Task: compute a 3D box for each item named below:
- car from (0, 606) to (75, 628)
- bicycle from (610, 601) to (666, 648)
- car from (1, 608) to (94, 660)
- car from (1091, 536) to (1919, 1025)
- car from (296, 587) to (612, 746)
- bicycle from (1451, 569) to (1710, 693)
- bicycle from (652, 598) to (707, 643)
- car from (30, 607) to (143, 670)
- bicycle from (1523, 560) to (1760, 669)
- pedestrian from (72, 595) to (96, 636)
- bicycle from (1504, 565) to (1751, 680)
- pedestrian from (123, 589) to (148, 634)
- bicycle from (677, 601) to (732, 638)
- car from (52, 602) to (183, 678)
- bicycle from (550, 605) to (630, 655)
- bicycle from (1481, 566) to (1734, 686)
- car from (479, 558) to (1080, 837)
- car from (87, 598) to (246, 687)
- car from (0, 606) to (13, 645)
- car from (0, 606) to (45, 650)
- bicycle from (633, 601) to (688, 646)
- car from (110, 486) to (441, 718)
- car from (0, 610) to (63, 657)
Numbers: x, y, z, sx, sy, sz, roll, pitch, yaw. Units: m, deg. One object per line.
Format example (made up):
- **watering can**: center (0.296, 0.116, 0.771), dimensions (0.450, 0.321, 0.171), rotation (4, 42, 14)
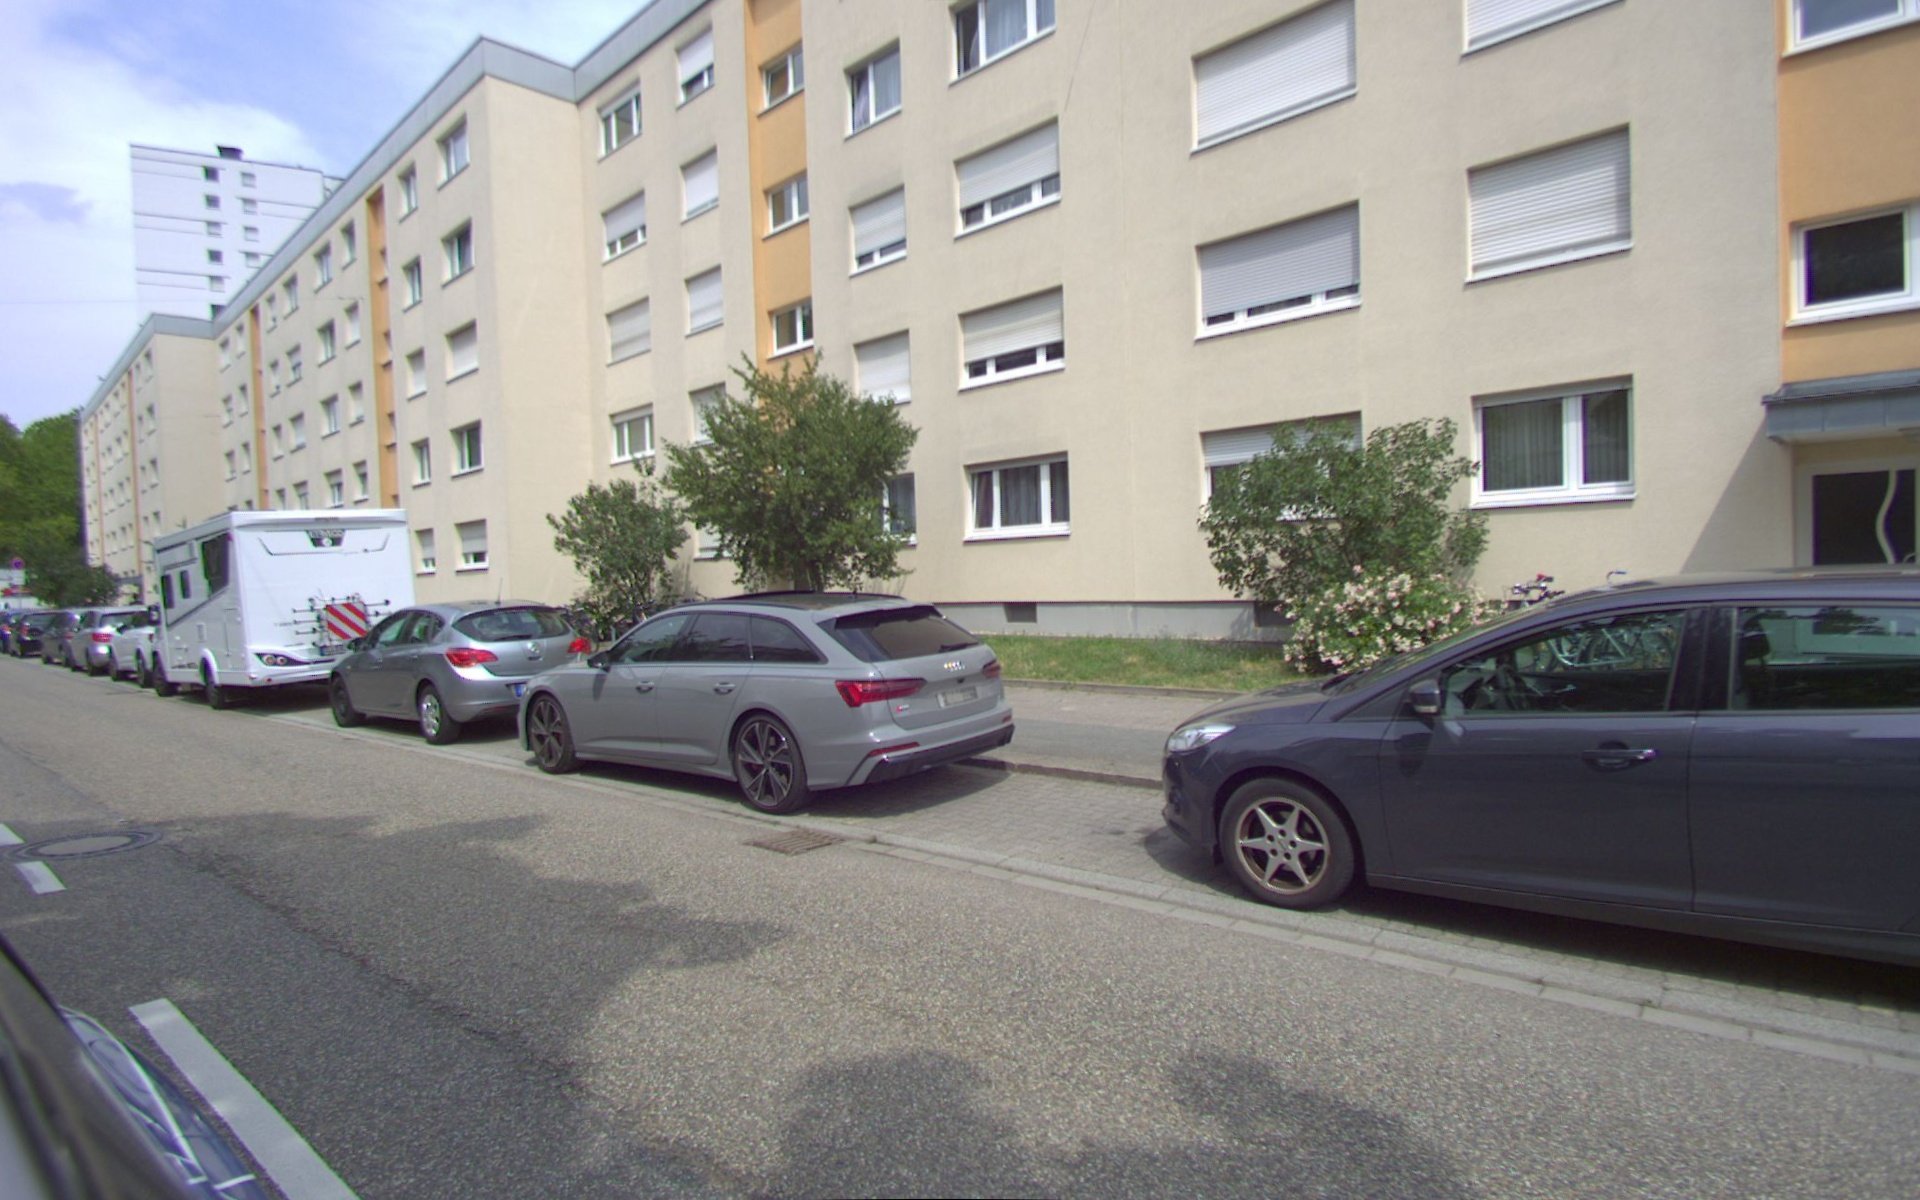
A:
- **car**: center (-73.475, 1.332, 80.518), dimensions (4.576, 1.699, 1.851), rotation (-1, 0, -43)
- **bicycle**: center (-7.141, 0.549, 22.399), dimensions (1.678, 0.986, 0.392), rotation (-2, 0, 44)
- **car**: center (-29.598, 1.062, 32.794), dimensions (4.115, 1.494, 1.799), rotation (-1, 2, 43)
- **car**: center (3.052, 0.532, 4.181), dimensions (4.782, 1.507, 1.724), rotation (-1, 2, 40)
- **car**: center (-6.193, 0.678, 12.134), dimensions (4.590, 1.507, 1.672), rotation (-1, 2, 40)
- **bicycle**: center (5.940, 0.297, 9.800), dimensions (2.061, 1.094, 0.457), rotation (-2, 0, 44)
- **bicycle**: center (-6.426, 0.481, 23.160), dimensions (1.685, 0.986, 0.392), rotation (-2, 0, 44)
- **car**: center (-24.302, 1.056, 28.111), dimensions (4.001, 1.551, 1.706), rotation (-2, 0, 40)
- **bicycle**: center (7.339, 0.167, 10.988), dimensions (2.060, 1.094, 0.457), rotation (-2, 0, 43)
- **pedestrian**: center (-39.749, 0.687, 45.933), dimensions (0.898, 1.826, 0.613), rotation (-1, 2, 39)
- **bicycle**: center (6.866, 0.235, 10.511), dimensions (2.061, 1.094, 0.457), rotation (-2, 0, 44)
- **pedestrian**: center (-33.559, 0.466, 41.192), dimensions (0.802, 1.826, 0.613), rotation (-1, 0, 38)
- **bicycle**: center (-6.001, 0.460, 23.725), dimensions (1.686, 0.831, 0.392), rotation (-2, 0, 45)
- **car**: center (-20.543, 0.911, 24.614), dimensions (4.566, 1.591, 1.737), rotation (-1, 2, 42)
- **bicycle**: center (-7.819, 0.632, 21.320), dimensions (2.444, 0.988, 0.448), rotation (-2, 0, 41)
- **bicycle**: center (6.426, 0.259, 10.158), dimensions (2.061, 1.094, 0.457), rotation (-2, 0, 44)
- **car**: center (-1.749, 0.572, 8.263), dimensions (5.214, 1.591, 1.867), rotation (-1, 2, 40)
- **car**: center (-16.590, 0.824, 21.082), dimensions (4.590, 1.591, 1.672), rotation (-1, 2, 40)
- **car**: center (-42.920, 1.160, 44.145), dimensions (4.300, 1.624, 1.922), rotation (-1, 2, 42)
- **car**: center (-37.058, 1.090, 39.323), dimensions (3.848, 1.573, 1.653), rotation (-1, 2, 40)
- **bicycle**: center (-6.765, 0.537, 22.820), dimensions (1.685, 0.986, 0.392), rotation (-2, 0, 44)
- **car**: center (-11.453, 0.015, 16.601), dimensions (7.391, 3.046, 2.485), rotation (-1, 2, 40)
- **car**: center (-33.410, 1.159, 36.014), dimensions (3.884, 1.494, 1.799), rotation (-1, 2, 43)
